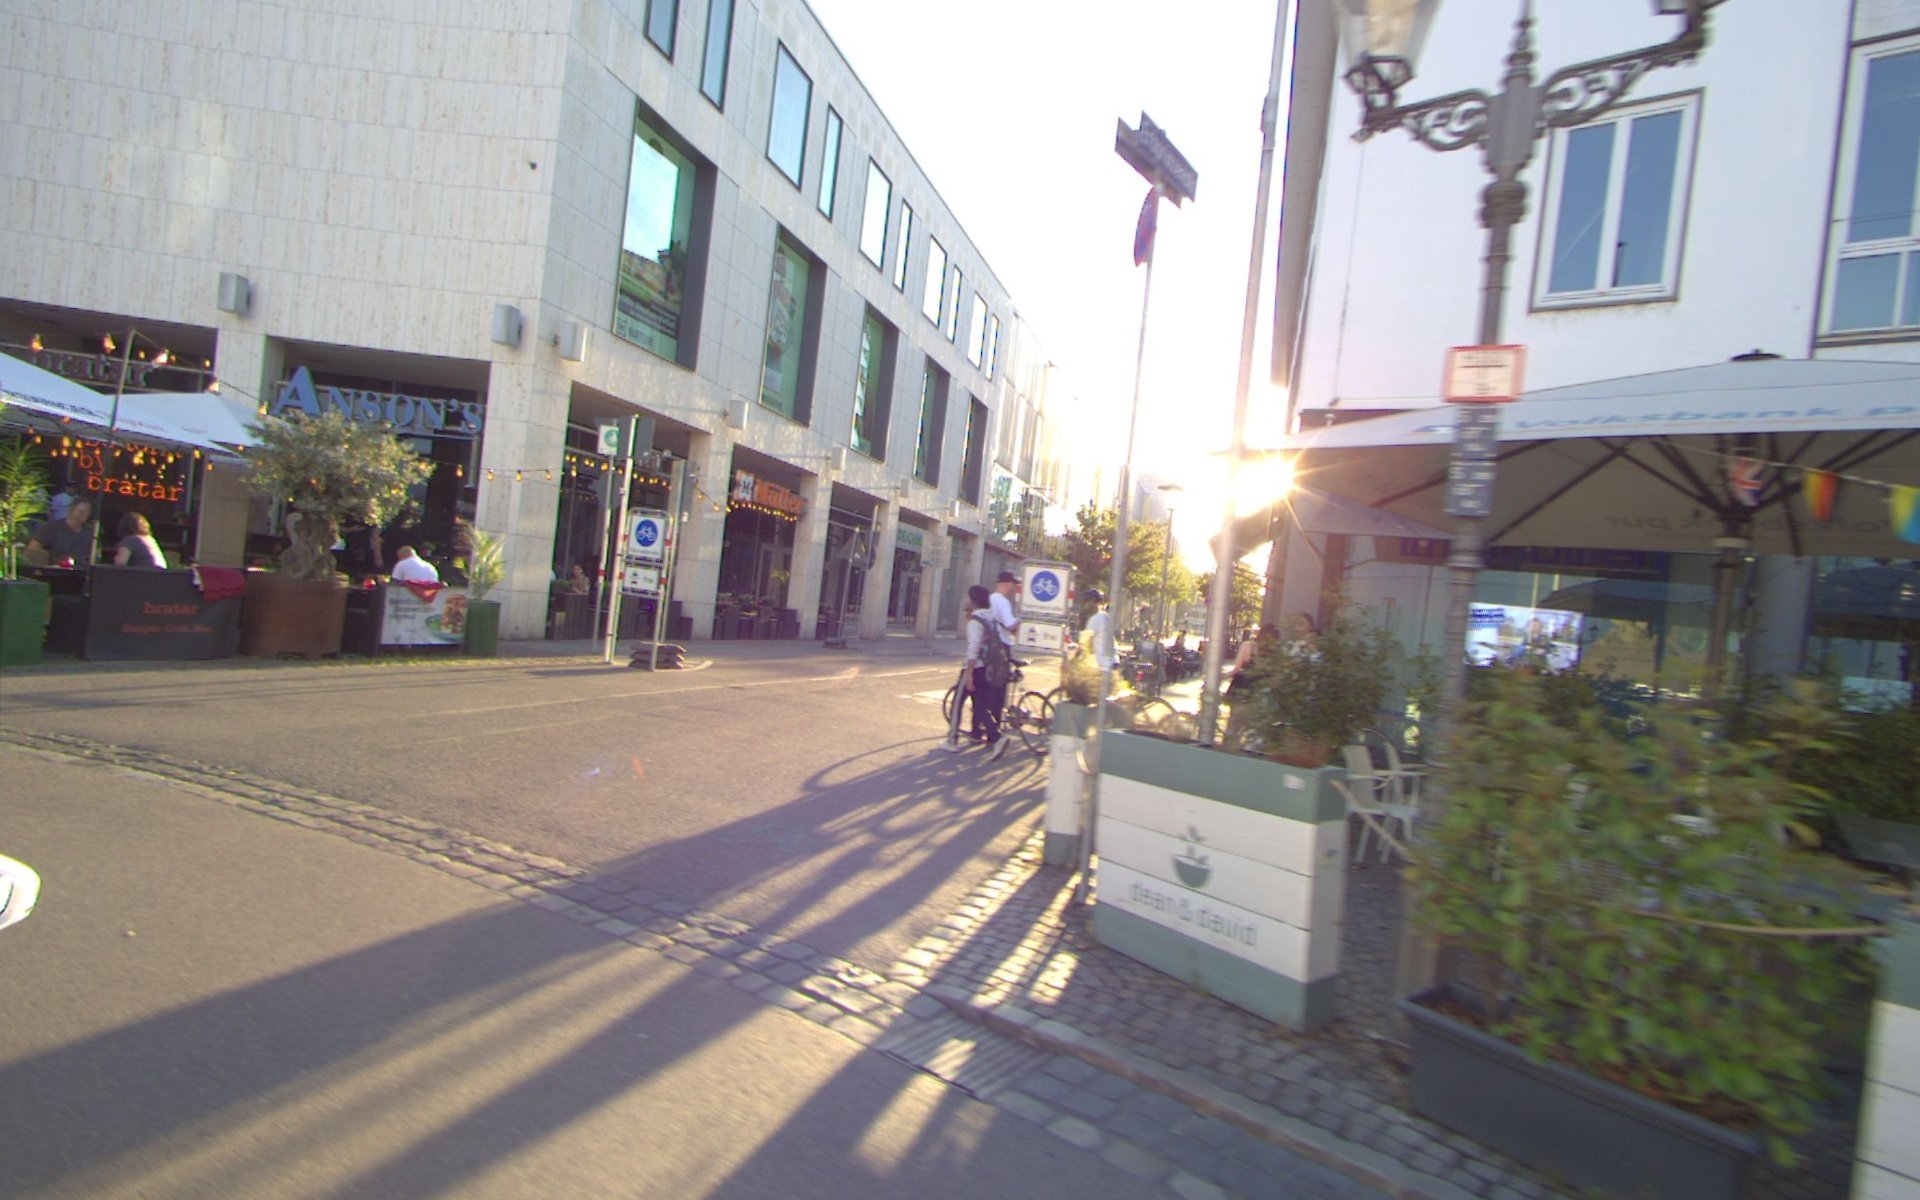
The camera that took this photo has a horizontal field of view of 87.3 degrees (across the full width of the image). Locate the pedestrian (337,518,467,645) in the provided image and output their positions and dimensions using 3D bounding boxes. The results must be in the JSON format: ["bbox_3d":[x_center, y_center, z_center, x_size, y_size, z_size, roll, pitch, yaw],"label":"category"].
[{"bbox_3d":[-7.124,-0.216,12.895,0.927,1.465,0.972,7,1,10],"label":"pedestrian"}]

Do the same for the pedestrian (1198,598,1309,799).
[{"bbox_3d":[2.847,0.935,9.793,0.706,1.841,0.508,6,1,-4],"label":"pedestrian"}]

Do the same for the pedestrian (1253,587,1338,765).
[{"bbox_3d":[3.837,0.852,11.533,0.533,1.947,0.580,6,1,-4],"label":"pedestrian"}]

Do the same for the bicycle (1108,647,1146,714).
[{"bbox_3d":[3.298,1.546,19.808,0.512,1.156,1.965,7,0,12],"label":"bicycle"}]

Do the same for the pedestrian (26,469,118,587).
[{"bbox_3d":[-14.846,-1.186,16.824,0.834,1.825,0.729,7,1,22],"label":"pedestrian"}]

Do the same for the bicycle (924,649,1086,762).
[{"bbox_3d":[0.469,1.114,10.916,1.649,0.946,0.473,7,1,32],"label":"bicycle"}]

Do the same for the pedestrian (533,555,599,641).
[{"bbox_3d":[-6.875,-0.029,17.562,0.677,1.393,0.664,7,1,27],"label":"pedestrian"}]

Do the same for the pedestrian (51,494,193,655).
[{"bbox_3d":[-8.228,-0.238,9.893,0.680,1.465,0.723,7,1,19],"label":"pedestrian"}]

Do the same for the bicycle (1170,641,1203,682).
[{"bbox_3d":[7.614,2.030,33.764,0.784,1.232,2.233,7,0,18],"label":"bicycle"}]

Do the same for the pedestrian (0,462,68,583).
[{"bbox_3d":[-15.114,-1.252,16.142,0.964,1.825,0.728,7,1,22],"label":"pedestrian"}]

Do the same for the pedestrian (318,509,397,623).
[{"bbox_3d":[-9.961,-0.543,16.658,0.703,1.769,0.710,7,1,1],"label":"pedestrian"}]

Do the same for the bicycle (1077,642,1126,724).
[{"bbox_3d":[2.321,1.303,16.314,0.512,1.156,1.965,7,0,12],"label":"bicycle"}]

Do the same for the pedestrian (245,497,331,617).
[{"bbox_3d":[-10.570,-0.656,15.843,0.703,1.769,0.710,7,1,1],"label":"pedestrian"}]

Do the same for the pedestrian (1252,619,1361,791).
[{"bbox_3d":[3.663,1.090,10.684,0.720,1.697,0.619,6,1,-4],"label":"pedestrian"}]

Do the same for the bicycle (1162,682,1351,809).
[{"bbox_3d":[2.924,1.409,9.996,1.649,0.946,0.473,7,1,32],"label":"bicycle"}]

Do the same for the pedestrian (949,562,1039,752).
[{"bbox_3d":[0.377,0.609,10.948,0.616,1.953,0.645,7,1,18],"label":"pedestrian"}]

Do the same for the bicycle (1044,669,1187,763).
[{"bbox_3d":[1.754,1.318,11.467,1.457,0.859,0.482,7,1,-4],"label":"bicycle"}]

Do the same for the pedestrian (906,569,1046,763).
[{"bbox_3d":[0.173,0.648,10.154,0.918,1.763,0.920,7,1,27],"label":"pedestrian"}]

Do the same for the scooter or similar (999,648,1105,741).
[{"bbox_3d":[1.191,1.204,13.059,1.183,1.024,0.486,7,1,25],"label":"scooter or similar"}]

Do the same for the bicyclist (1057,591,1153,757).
[{"bbox_3d":[1.639,0.825,11.449,0.820,1.765,0.482,6,1,-3],"label":"bicyclist"}]

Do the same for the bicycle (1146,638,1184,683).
[{"bbox_3d":[6.252,1.813,30.551,0.784,1.232,2.233,7,0,18],"label":"bicycle"}]

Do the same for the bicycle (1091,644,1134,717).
[{"bbox_3d":[2.767,1.409,18.140,0.512,1.156,1.965,7,0,12],"label":"bicycle"}]

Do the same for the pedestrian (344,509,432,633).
[{"bbox_3d":[-8.633,-0.424,15.199,0.696,1.769,0.716,7,1,17],"label":"pedestrian"}]

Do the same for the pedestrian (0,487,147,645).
[{"bbox_3d":[-8.953,-0.327,10.149,0.849,1.465,0.723,7,1,18],"label":"pedestrian"}]

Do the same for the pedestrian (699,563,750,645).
[{"bbox_3d":[-5.624,0.097,24.038,0.834,1.825,0.729,7,1,3],"label":"pedestrian"}]
